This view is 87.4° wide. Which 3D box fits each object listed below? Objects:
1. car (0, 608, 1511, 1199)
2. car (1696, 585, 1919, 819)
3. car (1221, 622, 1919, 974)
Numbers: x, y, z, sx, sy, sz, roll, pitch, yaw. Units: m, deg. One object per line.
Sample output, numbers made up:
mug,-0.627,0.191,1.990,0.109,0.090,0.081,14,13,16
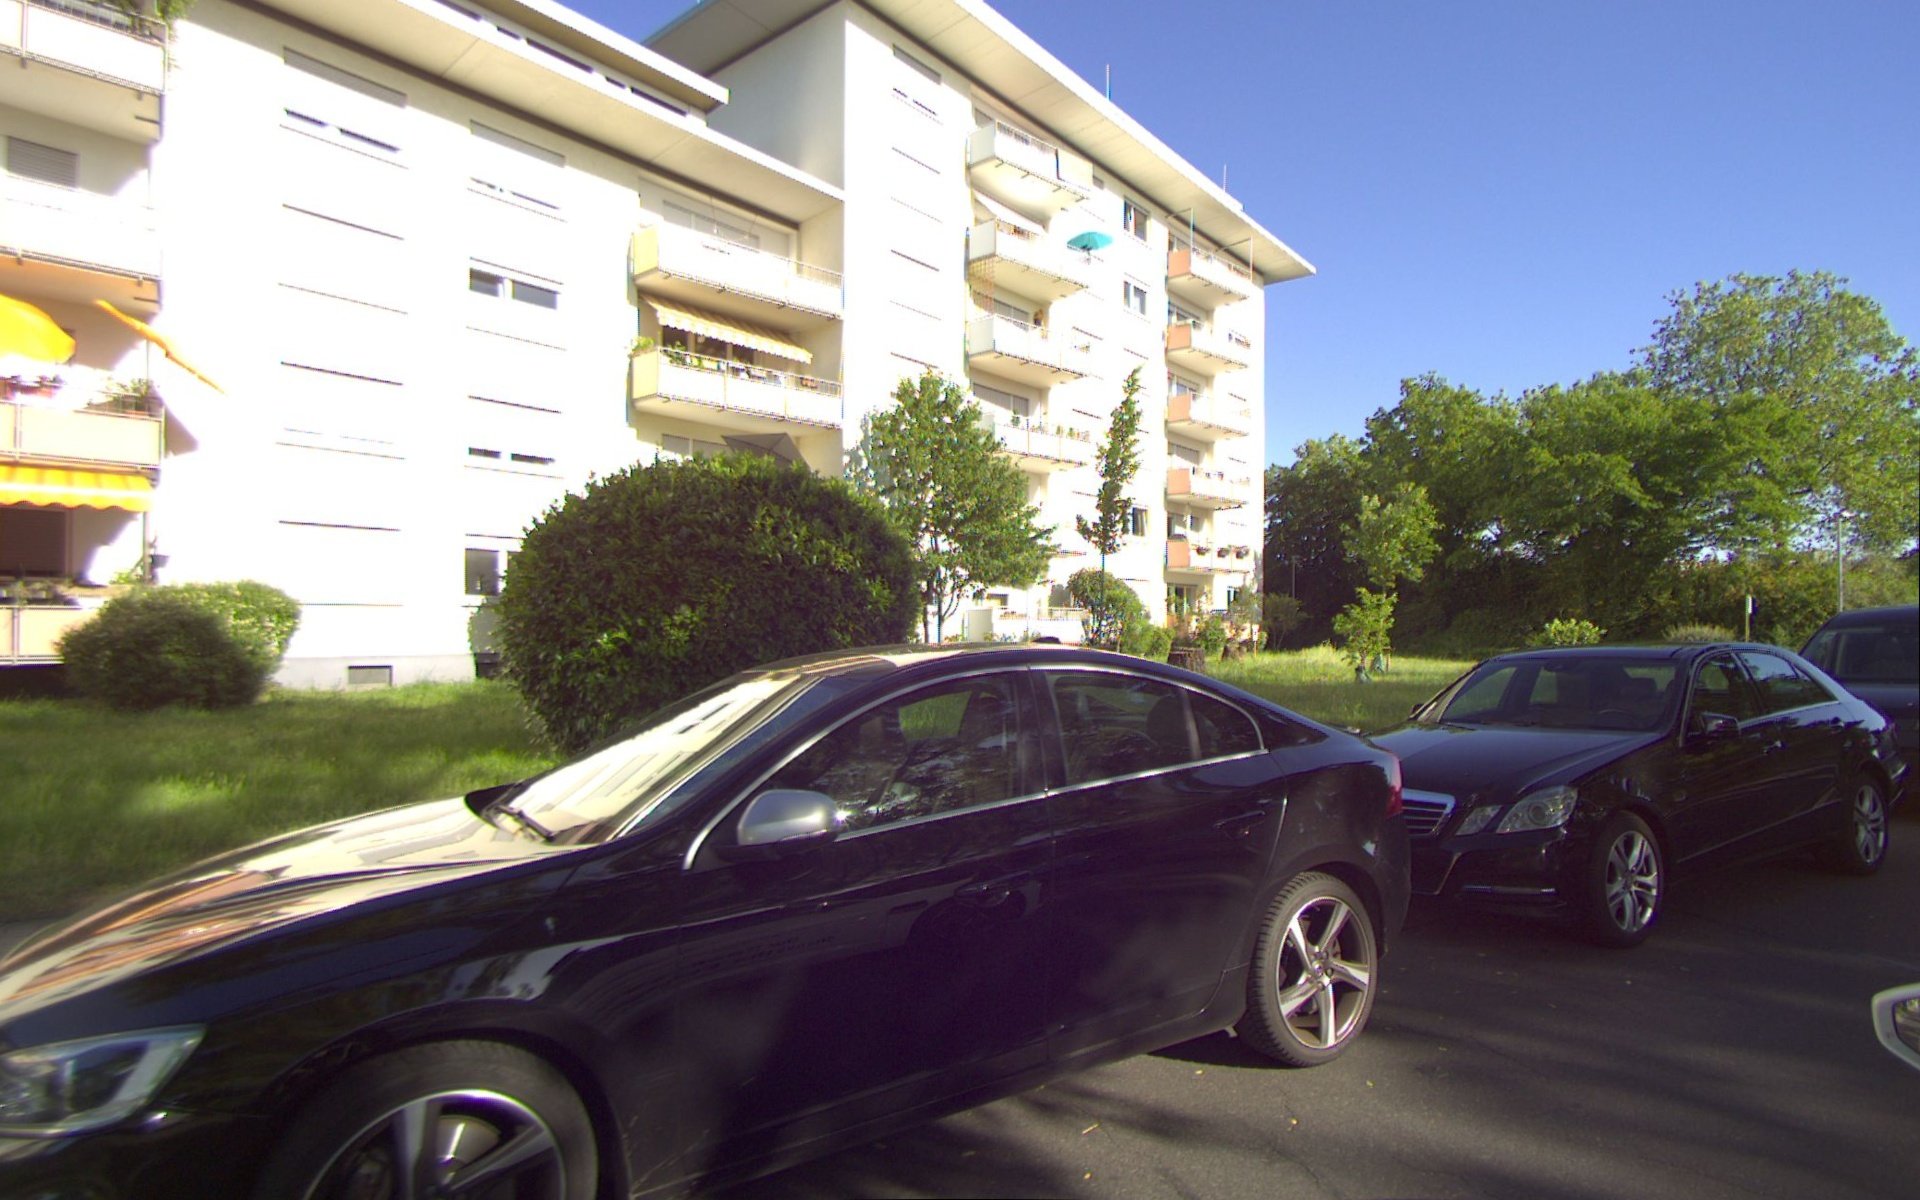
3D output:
car,-0.319,0.837,3.485,4.747,1.501,1.830,1,-3,-32
car,9.231,0.861,9.527,4.831,1.803,1.832,1,-3,-30
car,3.949,0.952,6.290,4.522,1.500,1.831,1,-4,-31
